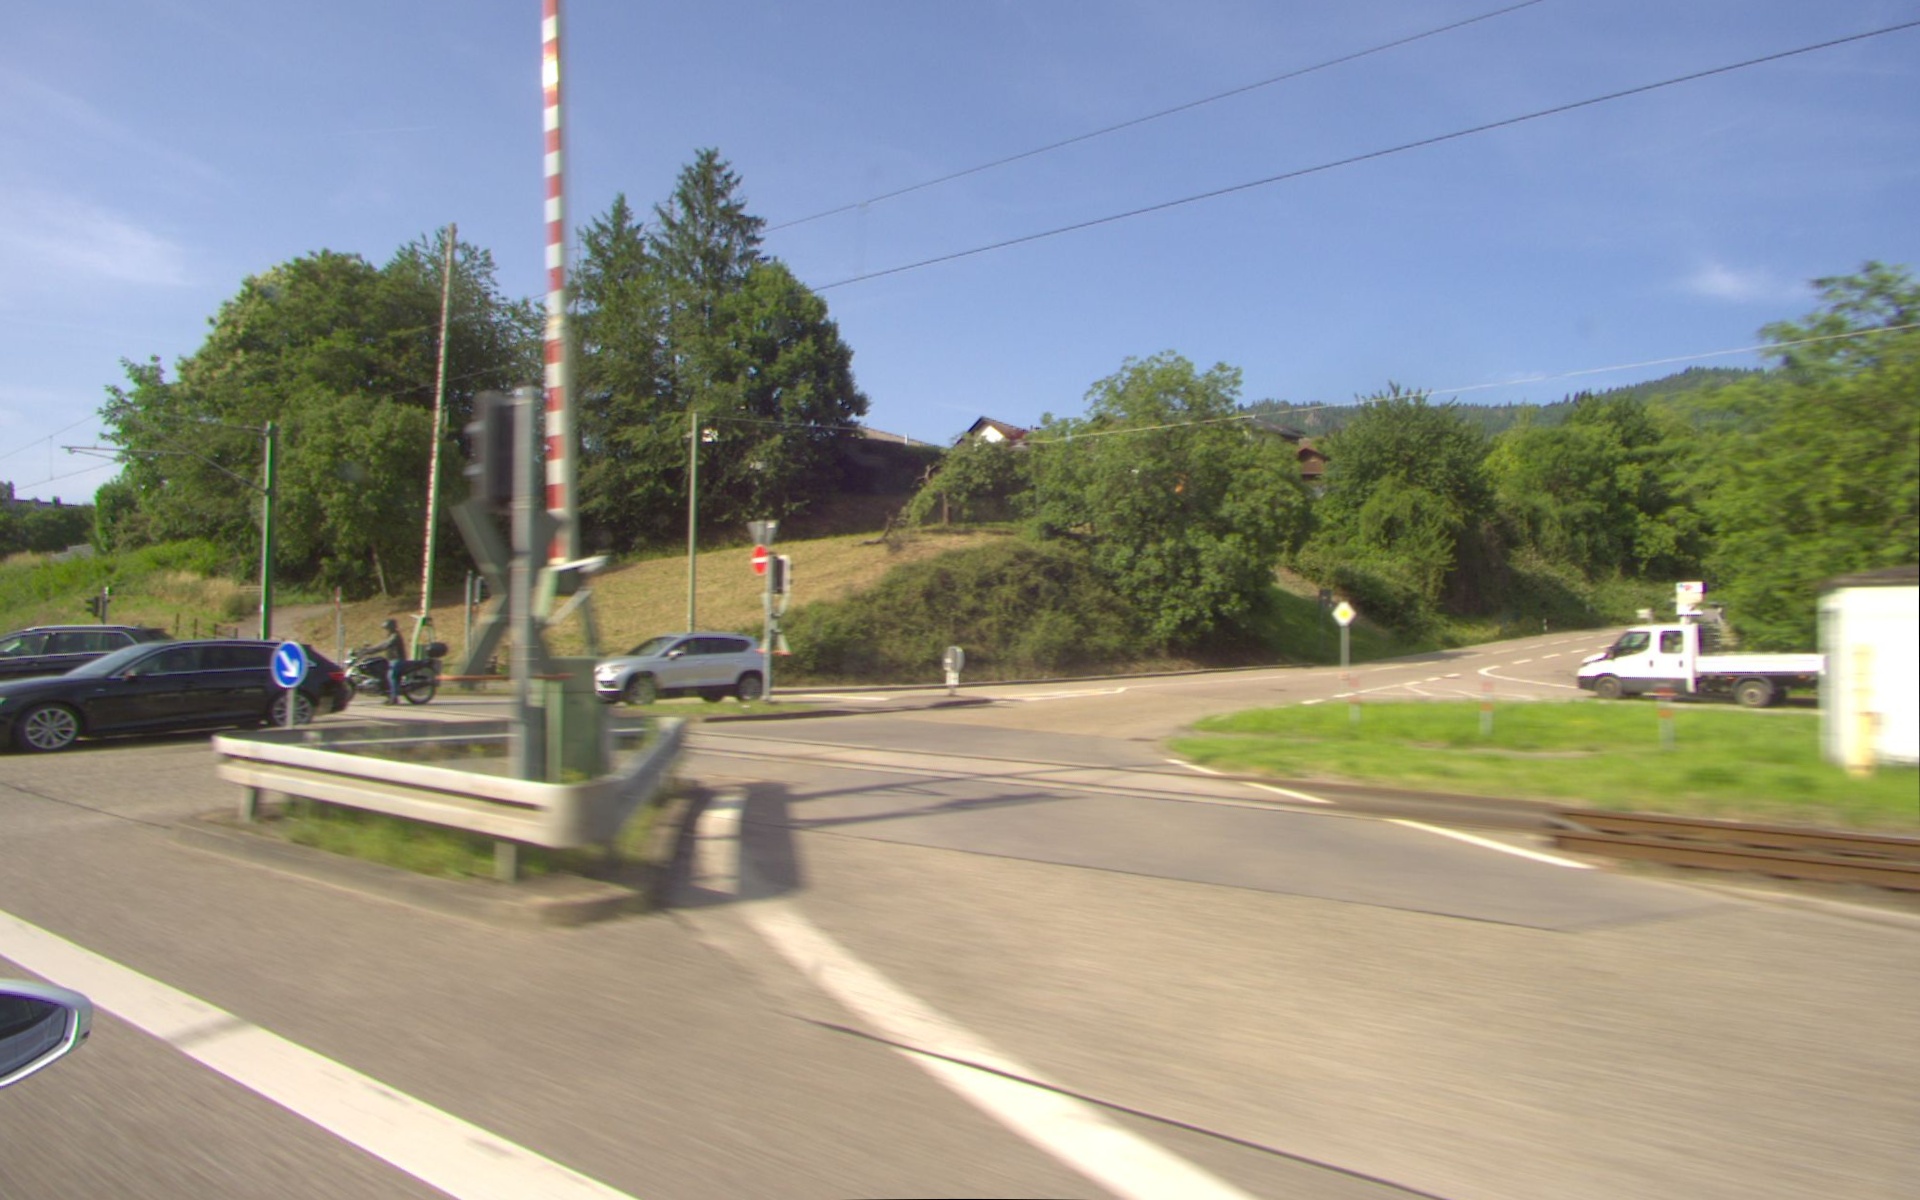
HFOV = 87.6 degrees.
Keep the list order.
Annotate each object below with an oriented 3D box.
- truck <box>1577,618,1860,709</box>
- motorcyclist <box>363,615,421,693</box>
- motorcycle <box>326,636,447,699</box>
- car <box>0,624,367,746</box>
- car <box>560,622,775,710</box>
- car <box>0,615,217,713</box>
[{"bbox_3d":[21.113,1.707,28.184,2.378,2.261,5.897,0,-2,-36],"label":"truck"},{"bbox_3d":[-12.072,1.143,21.278,0.900,1.616,0.759,3,-3,-41],"label":"motorcyclist"},{"bbox_3d":[-12.143,1.438,21.235,2.078,1.270,0.792,4,-3,-41],"label":"motorcycle"},{"bbox_3d":[-11.490,1.102,14.495,1.817,1.489,4.715,-1,-1,34],"label":"car"},{"bbox_3d":[-6.263,1.421,21.724,1.816,1.707,4.090,-1,-4,44],"label":"car"},{"bbox_3d":[-16.507,1.125,18.197,4.678,1.681,1.919,1,-2,-33],"label":"car"}]
